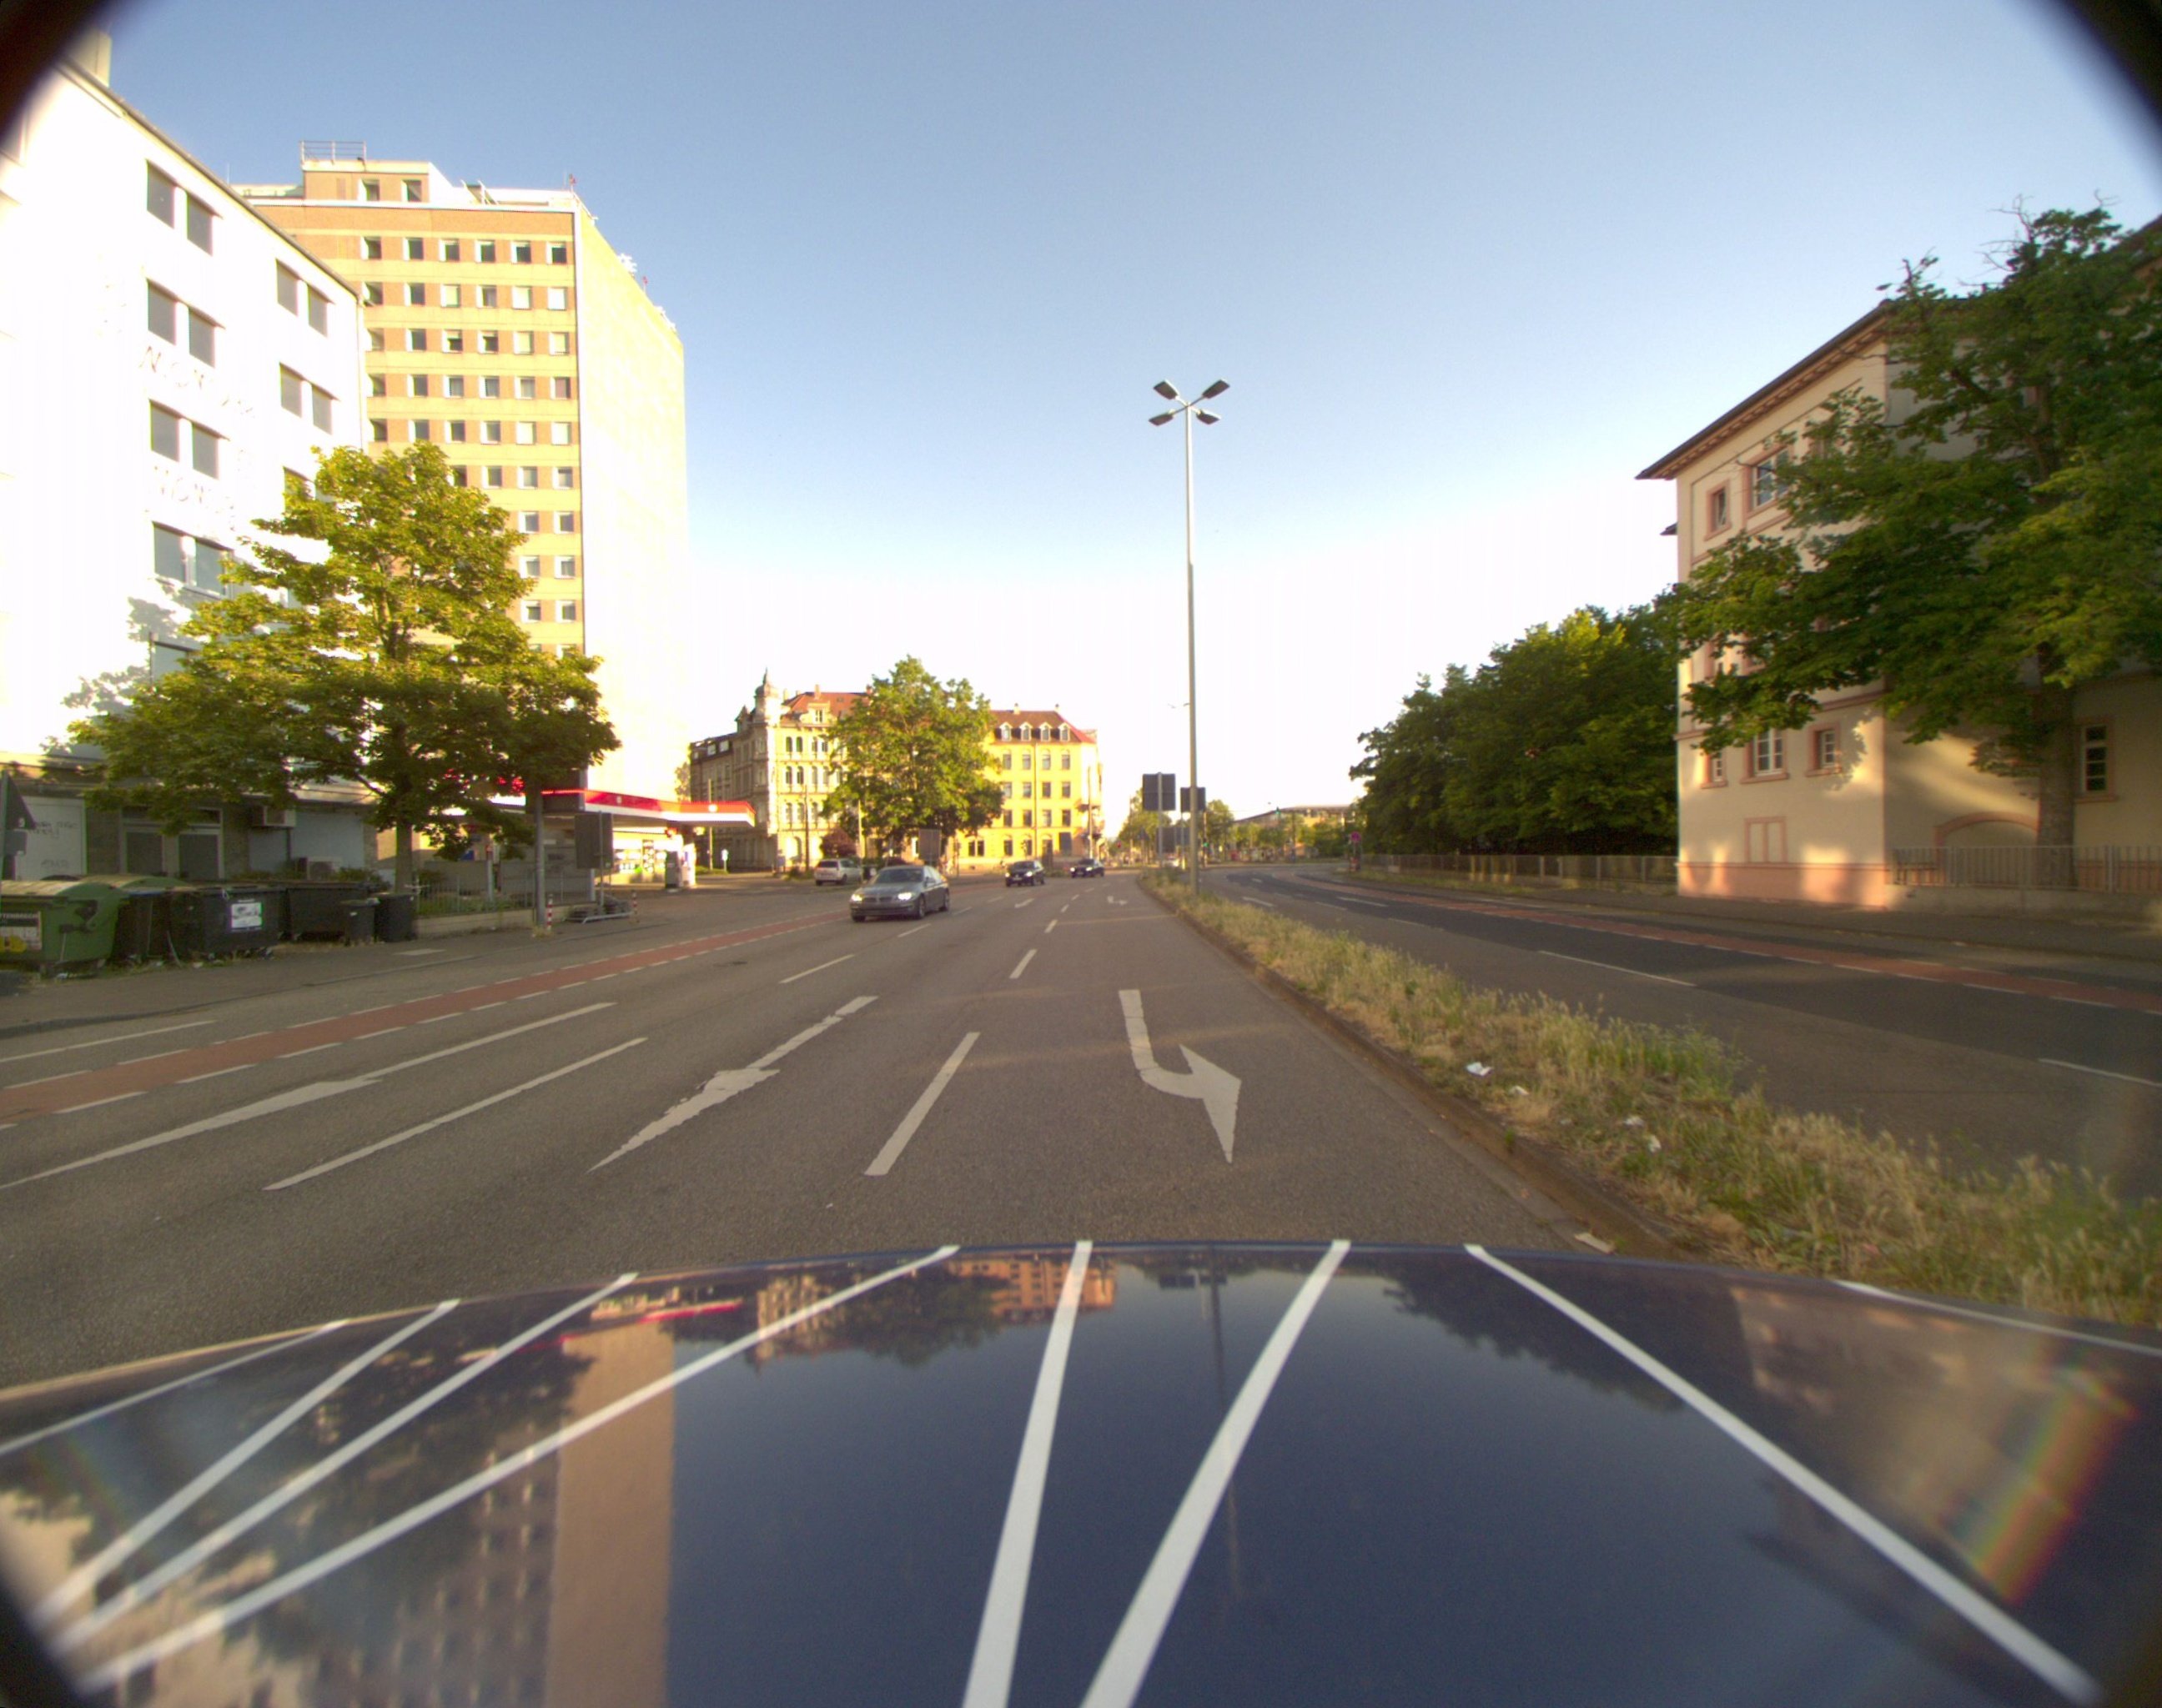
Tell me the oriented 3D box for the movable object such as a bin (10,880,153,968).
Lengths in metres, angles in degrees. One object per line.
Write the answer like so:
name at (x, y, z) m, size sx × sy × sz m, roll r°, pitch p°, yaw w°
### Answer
movable object such as a bin at (-18.306, 1.259, 13.965) m, size 1.034 × 1.490 × 1.162 m, roll -1°, pitch 1°, yaw -2°

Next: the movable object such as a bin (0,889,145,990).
movable object such as a bin at (-15.820, 1.291, 11.704) m, size 1.351 × 1.415 × 1.105 m, roll -1°, pitch 1°, yaw -4°

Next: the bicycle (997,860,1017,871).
bicycle at (-7.505, 1.138, 77.051) m, size 1.927 × 1.053 × 0.451 m, roll -1°, pitch 1°, yaw -7°

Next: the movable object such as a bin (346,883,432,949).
movable object such as a bin at (-14.886, 1.308, 16.381) m, size 0.956 × 1.320 × 0.953 m, roll -1°, pitch 1°, yaw -2°

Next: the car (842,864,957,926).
car at (-5.017, 1.076, 21.751) m, size 1.819 × 1.440 × 4.668 m, roll -2°, pitch 0°, yaw 4°

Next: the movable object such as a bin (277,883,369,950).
movable object such as a bin at (-15.905, 1.296, 15.973) m, size 0.956 × 1.320 × 0.953 m, roll -1°, pitch 1°, yaw -2°

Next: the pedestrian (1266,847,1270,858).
pedestrian at (34.283, -0.342, 139.366) m, size 0.556 × 2.002 × 0.664 m, roll -1°, pitch 1°, yaw 1°

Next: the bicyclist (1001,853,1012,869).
bicyclist at (-7.566, 0.683, 77.119) m, size 1.065 × 1.639 × 0.732 m, roll -1°, pitch 1°, yaw -7°

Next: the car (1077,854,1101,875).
car at (0.651, 0.789, 59.124) m, size 1.731 × 1.440 × 4.046 m, roll -2°, pitch 0°, yaw 1°

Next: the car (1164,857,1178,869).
car at (12.250, 1.231, 103.015) m, size 1.673 × 1.410 × 4.443 m, roll -2°, pitch 0°, yaw 9°

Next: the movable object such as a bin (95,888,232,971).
movable object such as a bin at (-16.047, 1.302, 13.340) m, size 0.956 × 1.320 × 1.162 m, roll -1°, pitch 1°, yaw -2°

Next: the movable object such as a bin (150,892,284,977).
movable object such as a bin at (-14.927, 1.362, 13.178) m, size 0.956 × 1.320 × 1.162 m, roll -1°, pitch 1°, yaw -2°

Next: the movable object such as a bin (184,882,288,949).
movable object such as a bin at (-17.936, 1.284, 16.163) m, size 0.956 × 1.320 × 1.098 m, roll -1°, pitch 1°, yaw -2°

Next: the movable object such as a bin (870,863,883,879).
movable object such as a bin at (-13.138, 1.071, 48.800) m, size 0.544 × 1.013 × 0.688 m, roll -1°, pitch 1°, yaw 5°

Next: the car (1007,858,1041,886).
car at (-3.248, 0.986, 43.744) m, size 1.584 × 1.440 × 3.872 m, roll -2°, pitch 0°, yaw 1°

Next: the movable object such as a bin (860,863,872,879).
movable object such as a bin at (-13.859, 1.087, 49.011) m, size 0.544 × 1.013 × 0.688 m, roll -1°, pitch 1°, yaw 5°

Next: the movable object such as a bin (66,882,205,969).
movable object such as a bin at (-17.131, 1.270, 13.809) m, size 1.034 × 1.440 × 1.162 m, roll -1°, pitch 1°, yaw -2°

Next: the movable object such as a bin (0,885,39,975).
movable object such as a bin at (-18.698, 1.290, 12.652) m, size 1.034 × 1.490 × 1.162 m, roll -1°, pitch 1°, yaw -2°

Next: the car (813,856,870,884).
car at (-13.946, 0.908, 44.522) m, size 1.688 × 1.508 × 3.798 m, roll -1°, pitch 1°, yaw 8°

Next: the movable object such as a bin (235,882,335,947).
movable object such as a bin at (-16.938, 1.271, 16.206) m, size 0.956 × 1.276 × 1.098 m, roll -1°, pitch 1°, yaw -2°
